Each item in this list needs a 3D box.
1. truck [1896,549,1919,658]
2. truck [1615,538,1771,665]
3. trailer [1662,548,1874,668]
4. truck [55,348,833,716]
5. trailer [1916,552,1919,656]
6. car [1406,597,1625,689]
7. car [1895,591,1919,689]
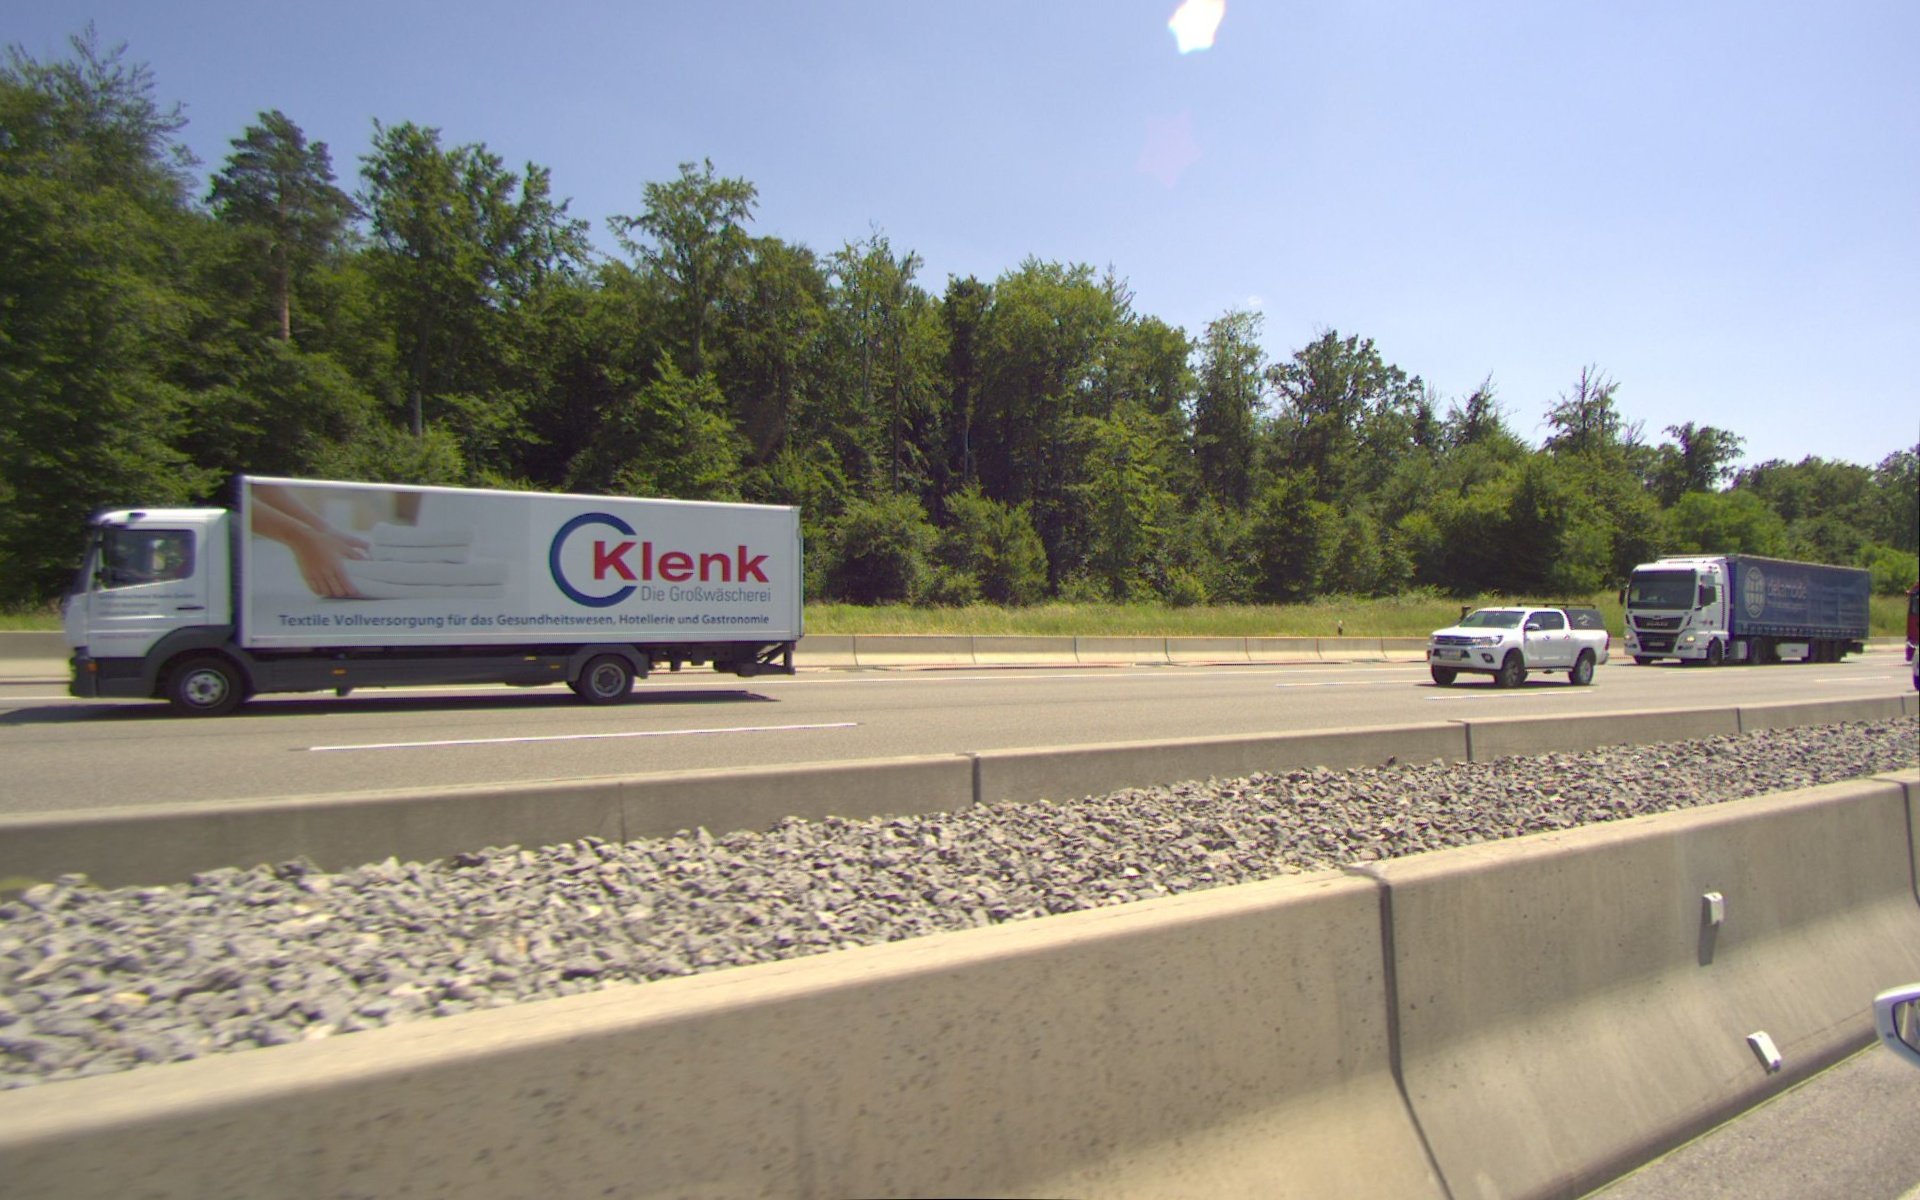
[{"bbox_3d":[41.914,0.197,41.907,6.530,4.409,2.488,1,1,-32],"label":"truck"},{"bbox_3d":[27.646,0.120,37.811,6.533,4.409,2.487,1,0,-32],"label":"truck"},{"bbox_3d":[33.768,0.366,41.653,13.544,4.409,2.487,1,1,-32],"label":"trailer"},{"bbox_3d":[-6.830,-0.666,15.014,9.504,4.233,2.520,2,0,-30],"label":"truck"},{"bbox_3d":[47.262,0.274,45.333,14.142,4.409,2.487,1,0,-32],"label":"trailer"},{"bbox_3d":[13.353,0.991,24.027,5.671,1.996,1.983,1,0,-31],"label":"car"},{"bbox_3d":[25.653,1.021,24.980,5.699,2.319,1.983,1,0,-31],"label":"car"}]
